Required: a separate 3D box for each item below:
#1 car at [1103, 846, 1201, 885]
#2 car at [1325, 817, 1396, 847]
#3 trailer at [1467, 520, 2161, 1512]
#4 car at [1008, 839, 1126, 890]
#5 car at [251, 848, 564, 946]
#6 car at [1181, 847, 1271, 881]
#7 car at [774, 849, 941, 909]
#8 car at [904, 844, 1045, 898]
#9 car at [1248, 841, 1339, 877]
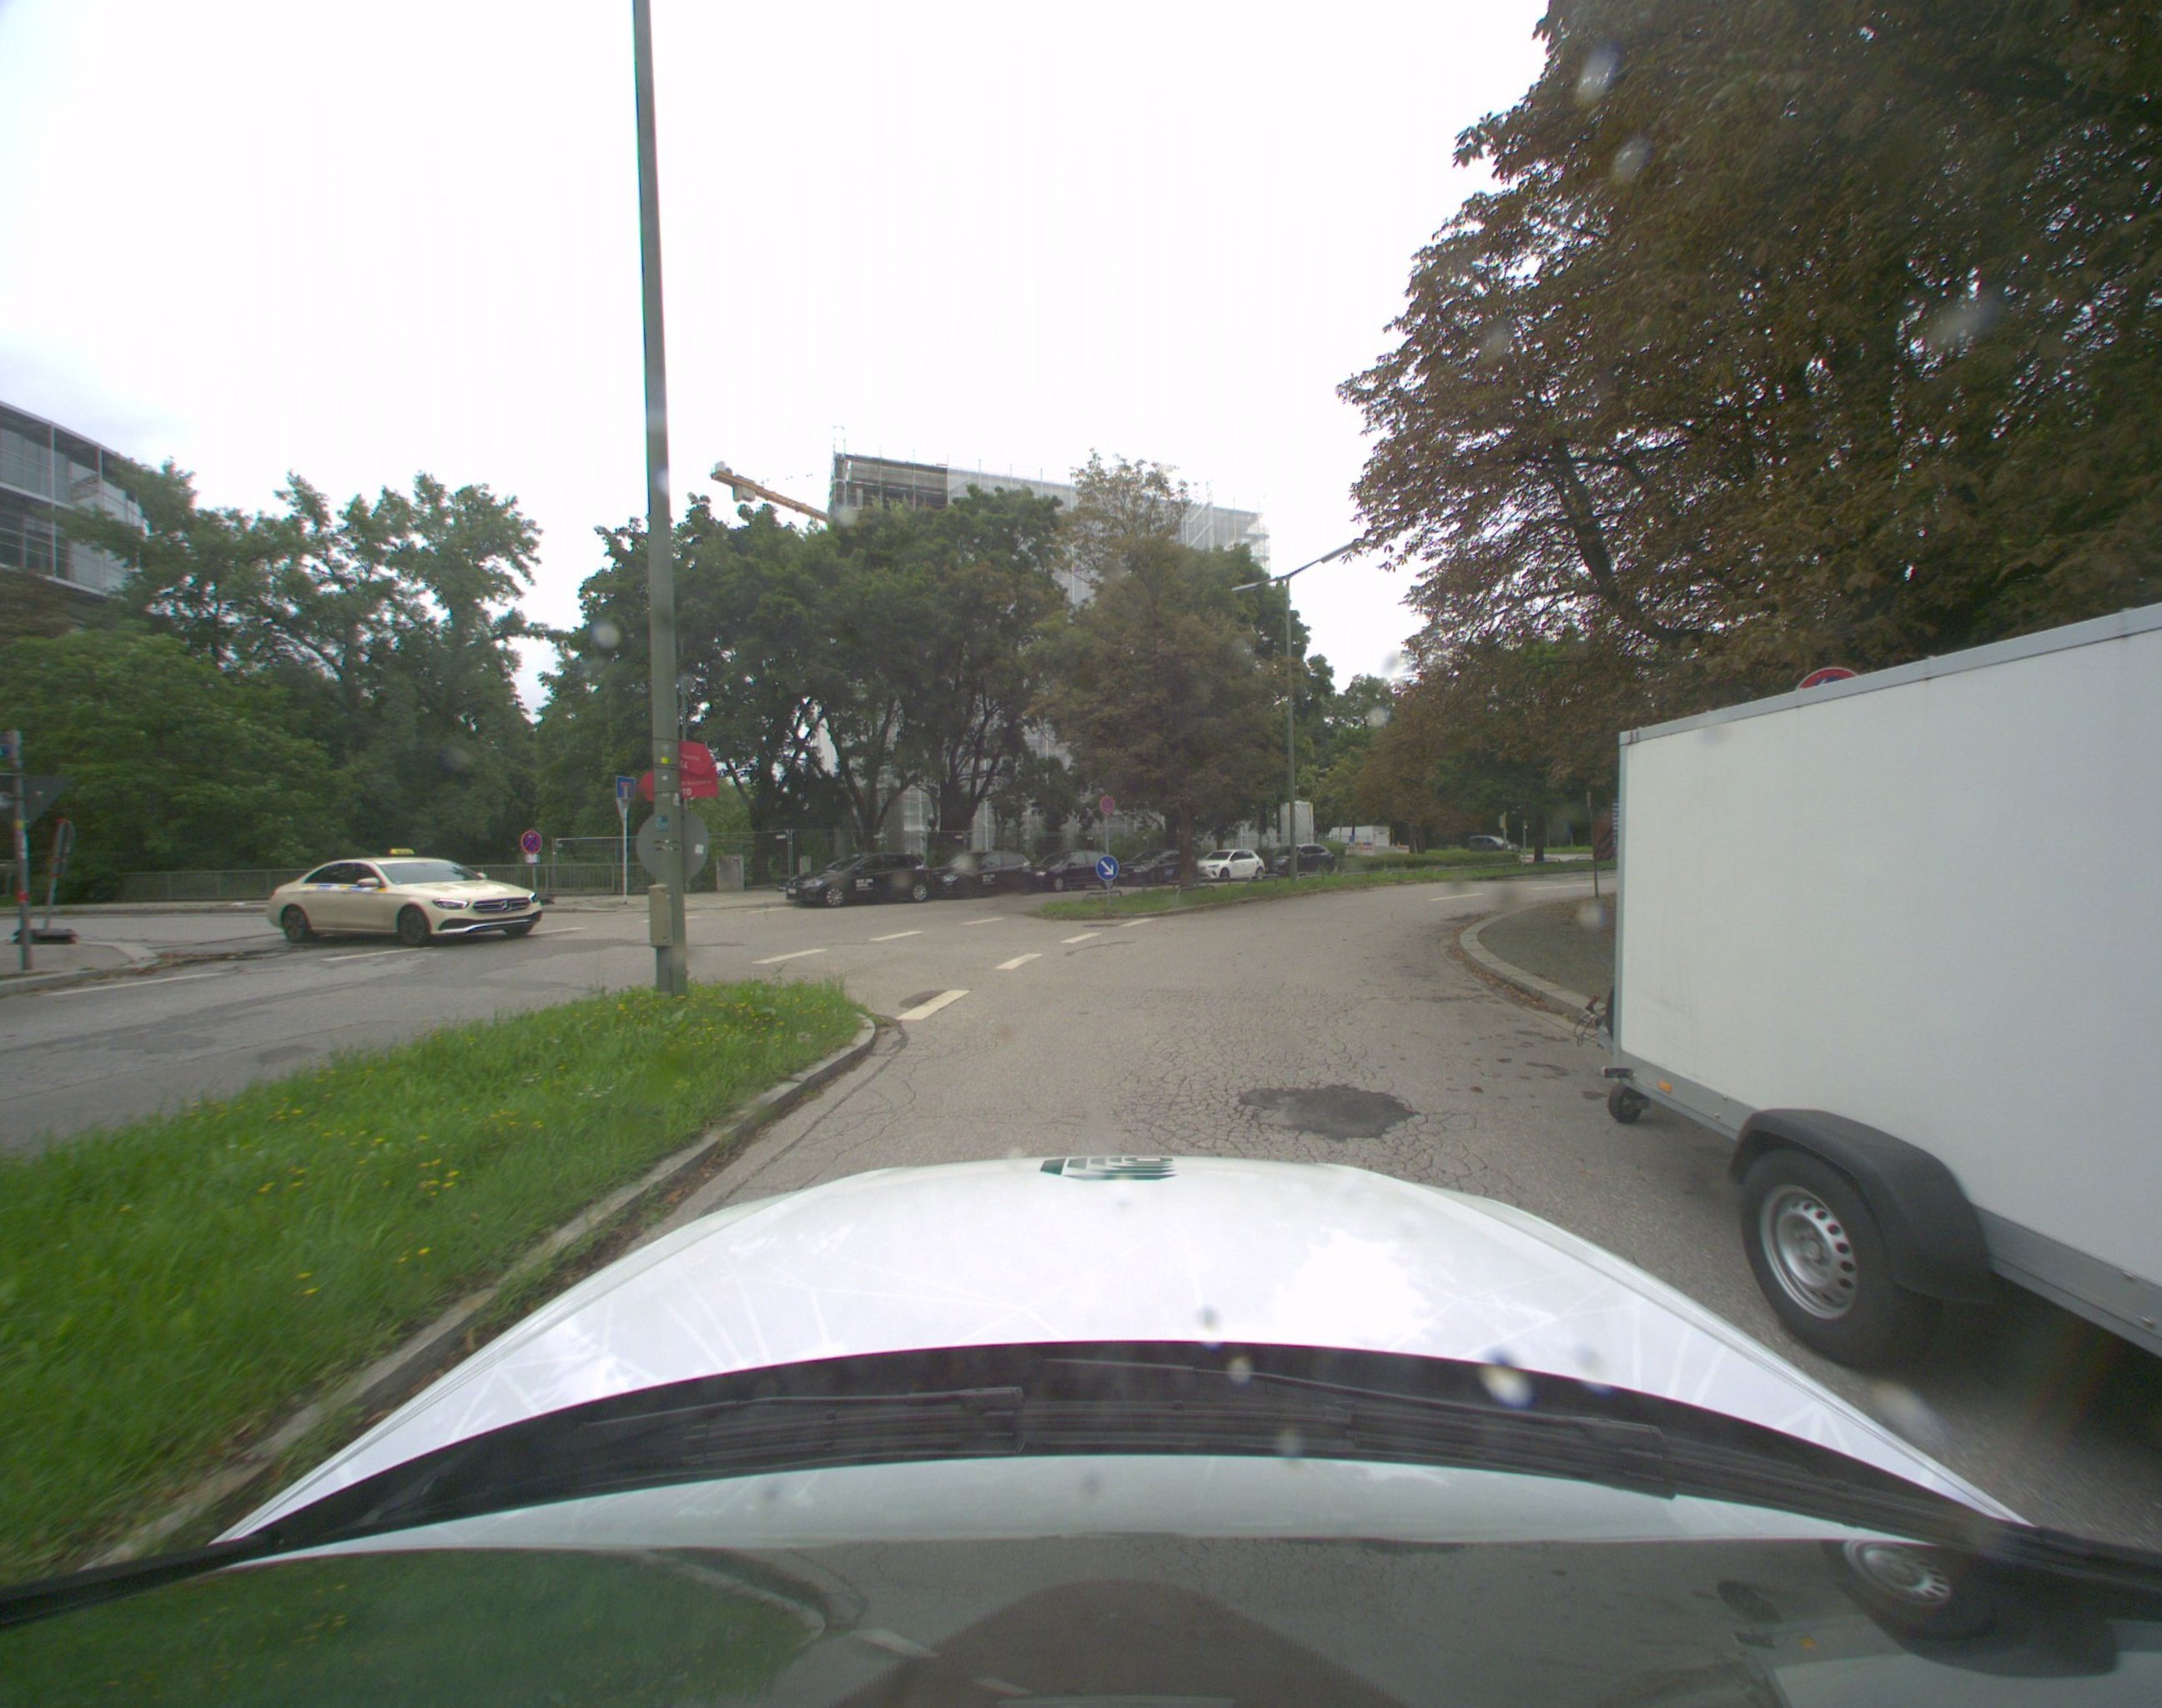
[{"bbox_3d":[2.937,0.436,32.982,1.817,1.461,4.030,-2,-1,44],"label":"car"},{"bbox_3d":[34.071,-2.644,99.678,3.099,3.448,8.649,-1,0,-25],"label":"car"},{"bbox_3d":[3.308,0.323,3.225,1.799,2.014,4.844,-1,0,8],"label":"trailer"},{"bbox_3d":[-0.439,0.356,29.358,1.975,1.706,4.024,-2,-1,44],"label":"car"},{"bbox_3d":[-11.889,0.702,14.421,4.800,1.545,1.902,-1,0,17],"label":"car"},{"bbox_3d":[6.516,0.426,36.356,4.242,1.383,1.780,-1,-1,-44],"label":"car"},{"bbox_3d":[-6.160,0.625,22.718,1.975,1.432,4.067,1,2,44],"label":"car"},{"bbox_3d":[-3.301,0.486,25.749,1.975,1.541,4.024,-1,0,44],"label":"car"},{"bbox_3d":[10.261,0.264,39.192,4.415,1.606,1.871,1,-2,-36],"label":"car"}]
